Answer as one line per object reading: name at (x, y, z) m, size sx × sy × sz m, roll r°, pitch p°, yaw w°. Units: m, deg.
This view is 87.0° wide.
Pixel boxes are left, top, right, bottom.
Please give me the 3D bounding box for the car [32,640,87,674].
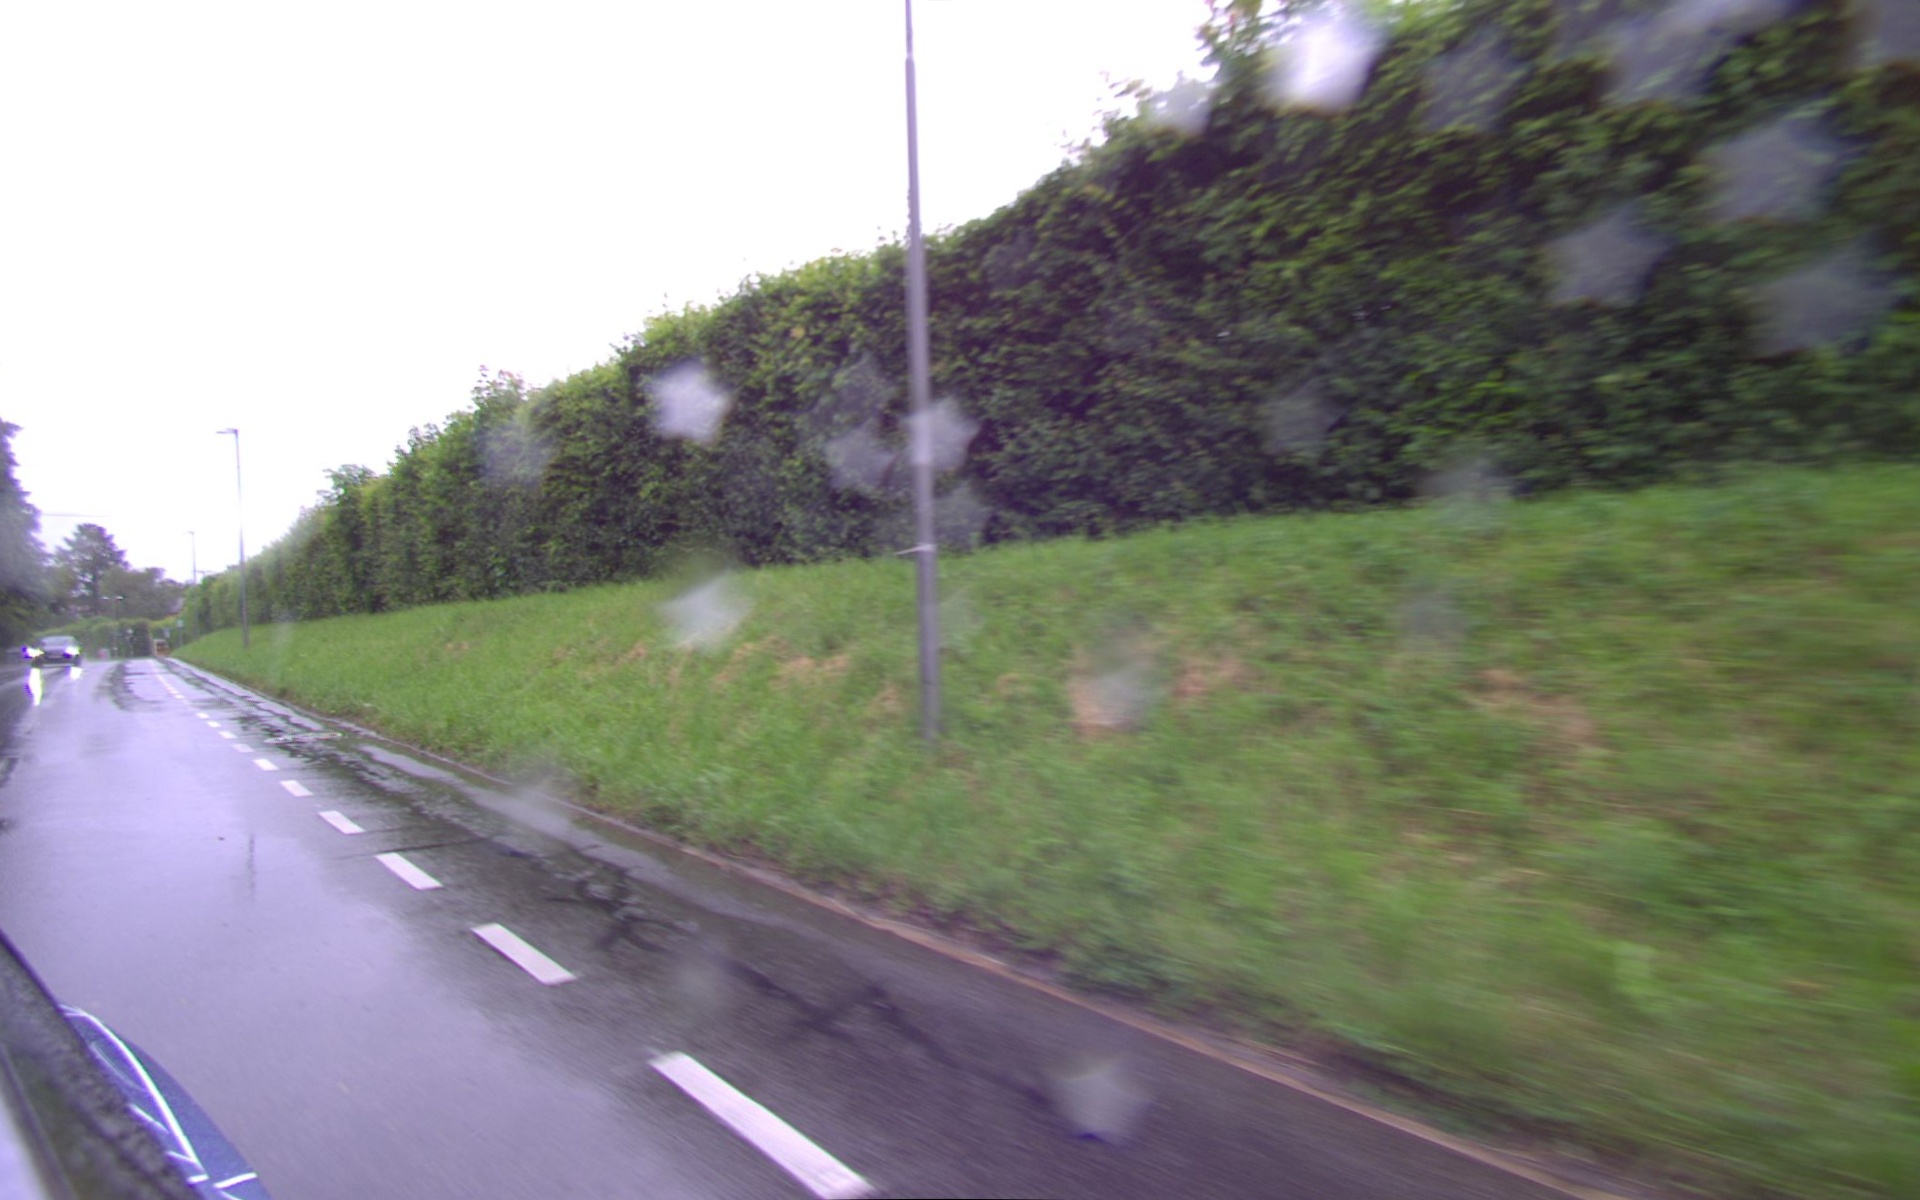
car at (-42.962, 2.691, 48.351) m, size 1.772 × 1.564 × 4.007 m, roll 2°, pitch -3°, yaw -40°
